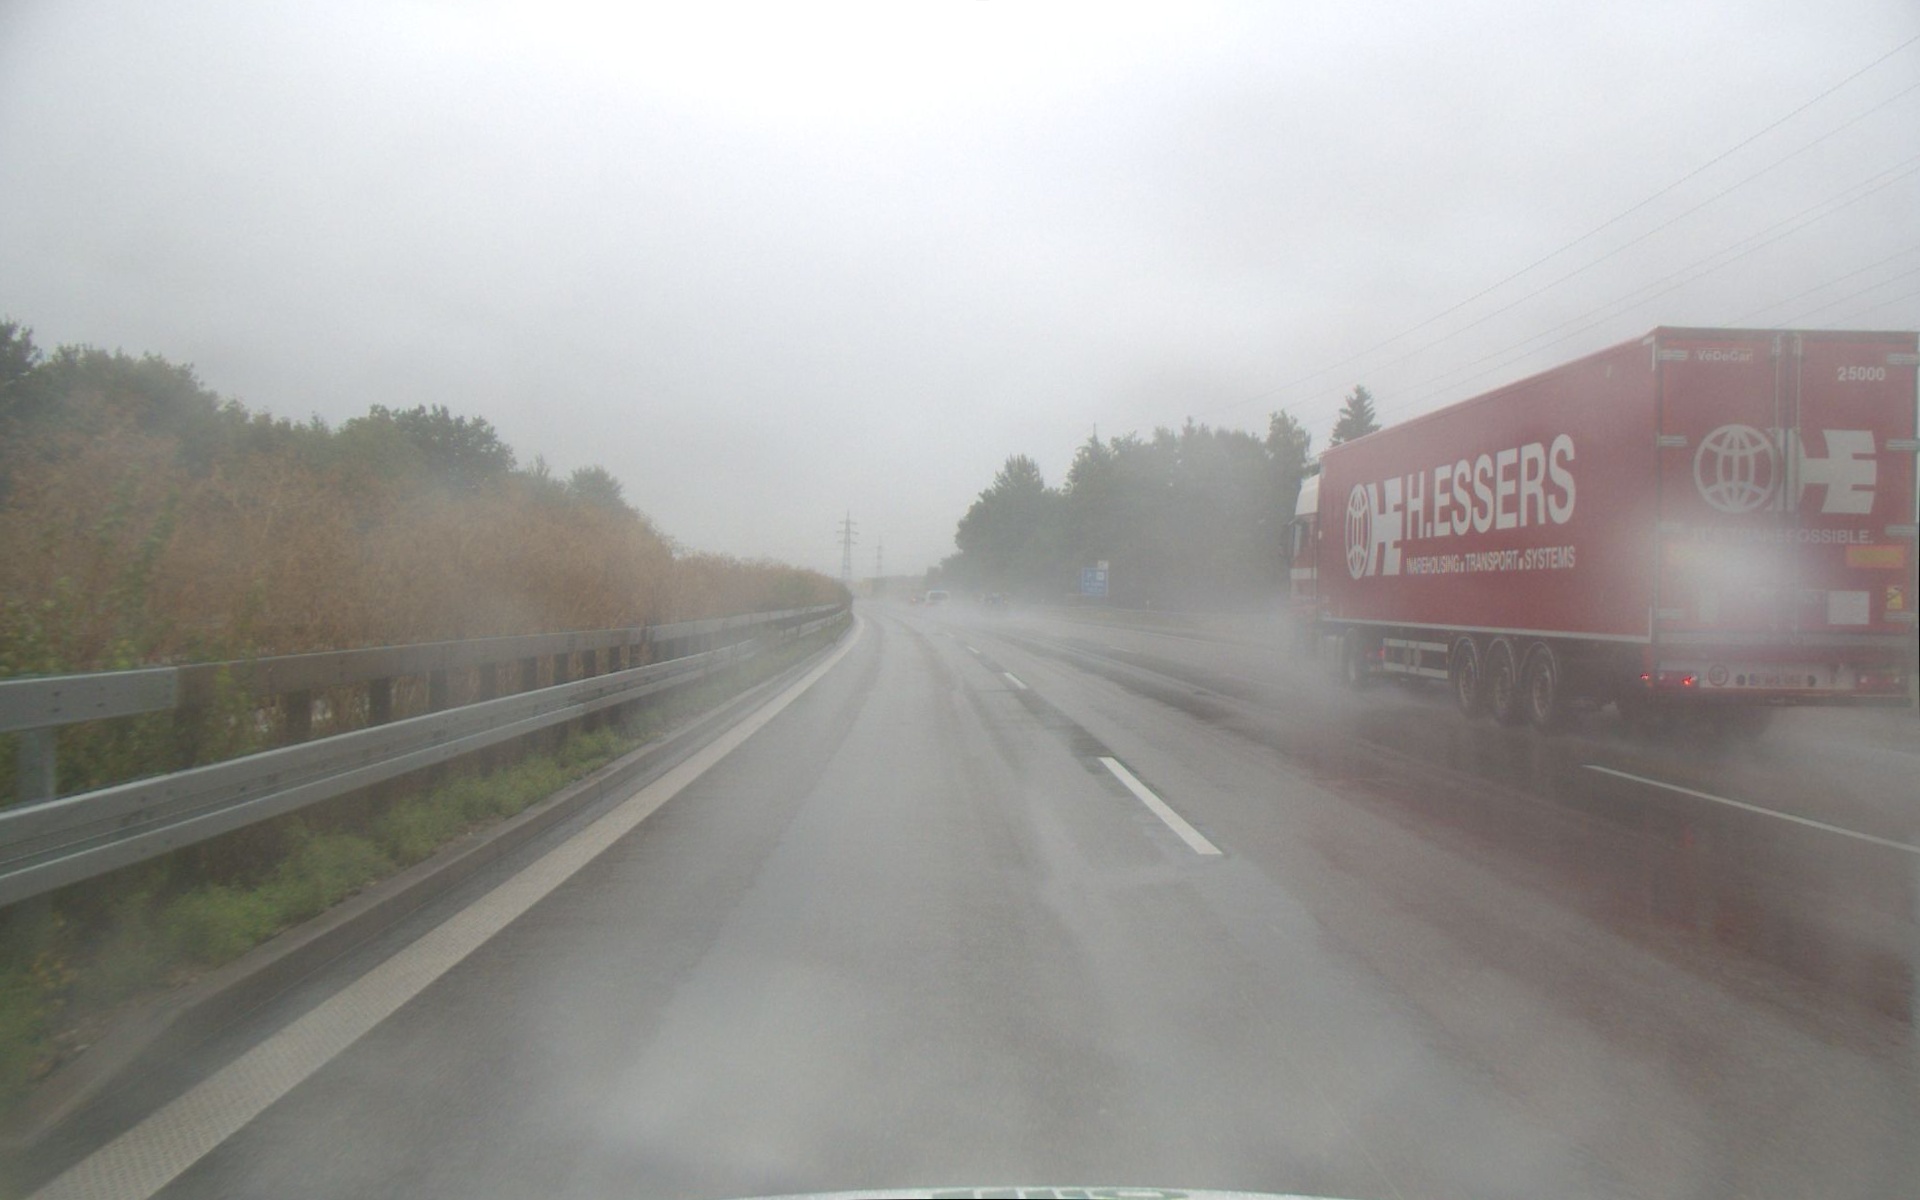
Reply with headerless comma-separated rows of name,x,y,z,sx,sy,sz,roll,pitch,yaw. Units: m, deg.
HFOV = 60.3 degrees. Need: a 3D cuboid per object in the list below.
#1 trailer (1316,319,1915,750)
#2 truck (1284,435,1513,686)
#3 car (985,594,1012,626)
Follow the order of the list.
trailer,7.605,-0.634,22.298,2.567,4.024,13.628,0,0,-1
truck,7.551,-0.646,29.202,2.567,4.024,5.432,0,0,-1
car,2.737,0.710,117.669,1.770,2.196,3.999,0,0,-1
